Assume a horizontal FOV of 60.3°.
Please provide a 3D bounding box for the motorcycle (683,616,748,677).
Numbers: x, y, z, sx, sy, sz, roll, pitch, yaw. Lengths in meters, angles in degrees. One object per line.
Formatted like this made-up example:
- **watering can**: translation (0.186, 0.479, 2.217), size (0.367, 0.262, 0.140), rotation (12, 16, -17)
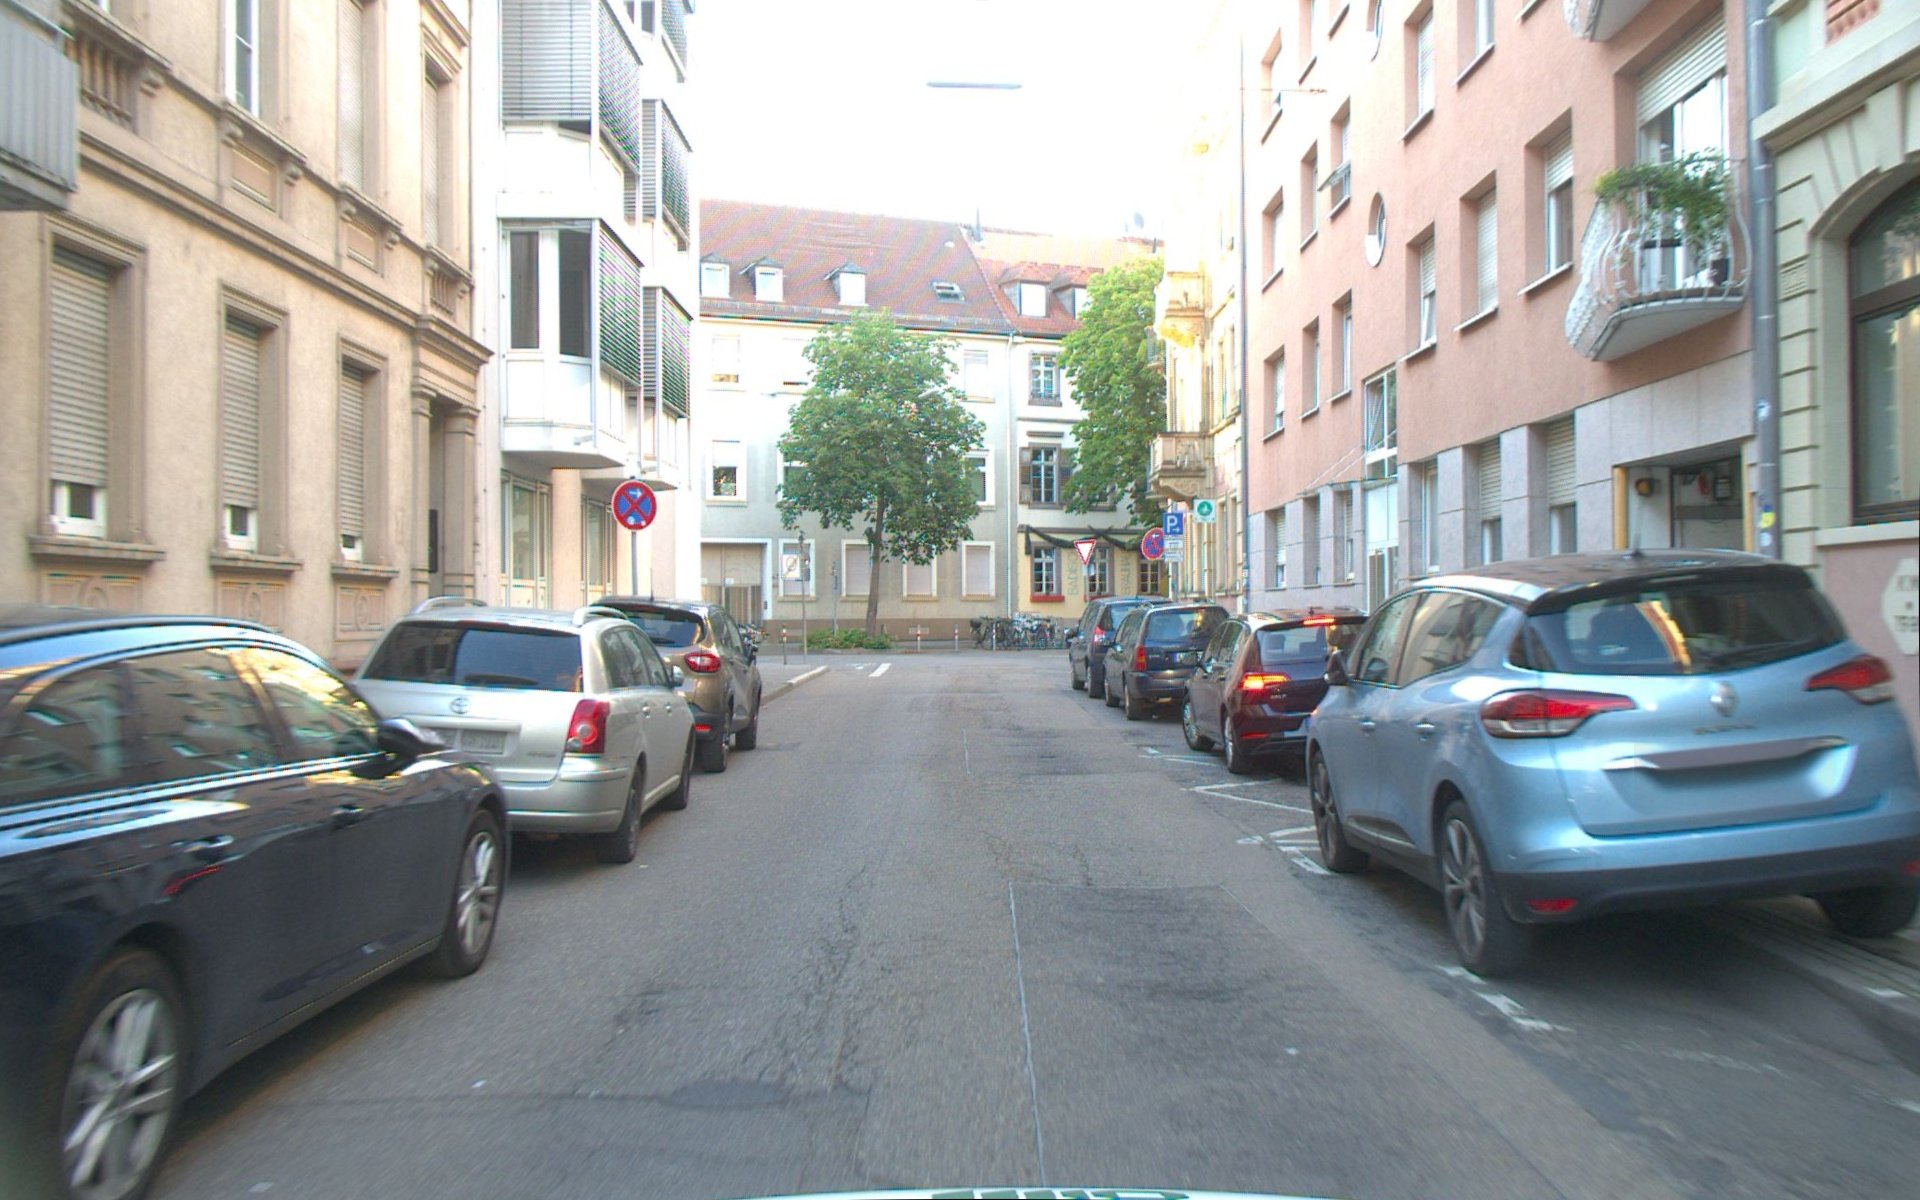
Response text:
- **motorcycle**: translation (-6.521, 1.220, 44.024), size (0.664, 1.583, 2.129), rotation (0, -1, -42)

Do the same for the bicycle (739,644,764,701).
- **bicycle**: translation (-3.657, 1.258, 29.043), size (0.301, 0.948, 1.812), rotation (0, -1, -3)

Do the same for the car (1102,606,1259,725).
- **car**: translation (3.039, 0.867, 23.580), size (1.655, 1.540, 4.282), rotation (0, -1, 0)

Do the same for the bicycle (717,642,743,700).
- **bicycle**: translation (-3.988, 1.219, 28.707), size (0.301, 0.948, 1.812), rotation (0, 0, -3)

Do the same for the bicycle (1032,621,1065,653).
- **bicycle**: translation (3.313, 1.379, 62.015), size (0.414, 1.166, 2.028), rotation (0, -1, -23)

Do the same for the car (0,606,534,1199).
- **car**: translation (-2.768, 0.814, 5.100), size (1.754, 1.566, 4.493), rotation (0, -1, 0)

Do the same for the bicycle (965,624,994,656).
- **bicycle**: translation (0.718, 1.457, 60.917), size (0.438, 1.166, 2.031), rotation (0, -1, -18)

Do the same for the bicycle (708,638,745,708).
- **bicycle**: translation (-3.771, 1.169, 26.788), size (0.300, 1.060, 1.813), rotation (-1, -1, 1)

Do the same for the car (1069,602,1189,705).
- **car**: translation (2.855, 0.872, 28.624), size (1.655, 1.653, 4.054), rotation (0, -1, 0)

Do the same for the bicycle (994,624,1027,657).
- **bicycle**: translation (1.792, 1.446, 59.371), size (0.438, 1.166, 2.029), rotation (0, -1, -21)

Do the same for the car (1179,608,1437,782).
- **car**: translation (3.257, 0.835, 16.250), size (1.655, 1.484, 4.131), rotation (0, -1, 0)

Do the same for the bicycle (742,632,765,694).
- **bicycle**: translation (-3.880, 1.169, 31.163), size (0.392, 1.121, 1.810), rotation (0, -1, -6)

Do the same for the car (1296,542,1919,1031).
- **car**: translation (2.890, 0.694, 8.074), size (1.655, 1.772, 4.109), rotation (0, -1, 0)

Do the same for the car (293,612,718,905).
- **car**: translation (-2.765, 0.868, 11.128), size (1.754, 1.566, 4.432), rotation (0, -1, -2)

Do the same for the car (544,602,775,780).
- **car**: translation (-2.955, 0.841, 17.054), size (1.754, 1.604, 4.069), rotation (0, -1, -2)
